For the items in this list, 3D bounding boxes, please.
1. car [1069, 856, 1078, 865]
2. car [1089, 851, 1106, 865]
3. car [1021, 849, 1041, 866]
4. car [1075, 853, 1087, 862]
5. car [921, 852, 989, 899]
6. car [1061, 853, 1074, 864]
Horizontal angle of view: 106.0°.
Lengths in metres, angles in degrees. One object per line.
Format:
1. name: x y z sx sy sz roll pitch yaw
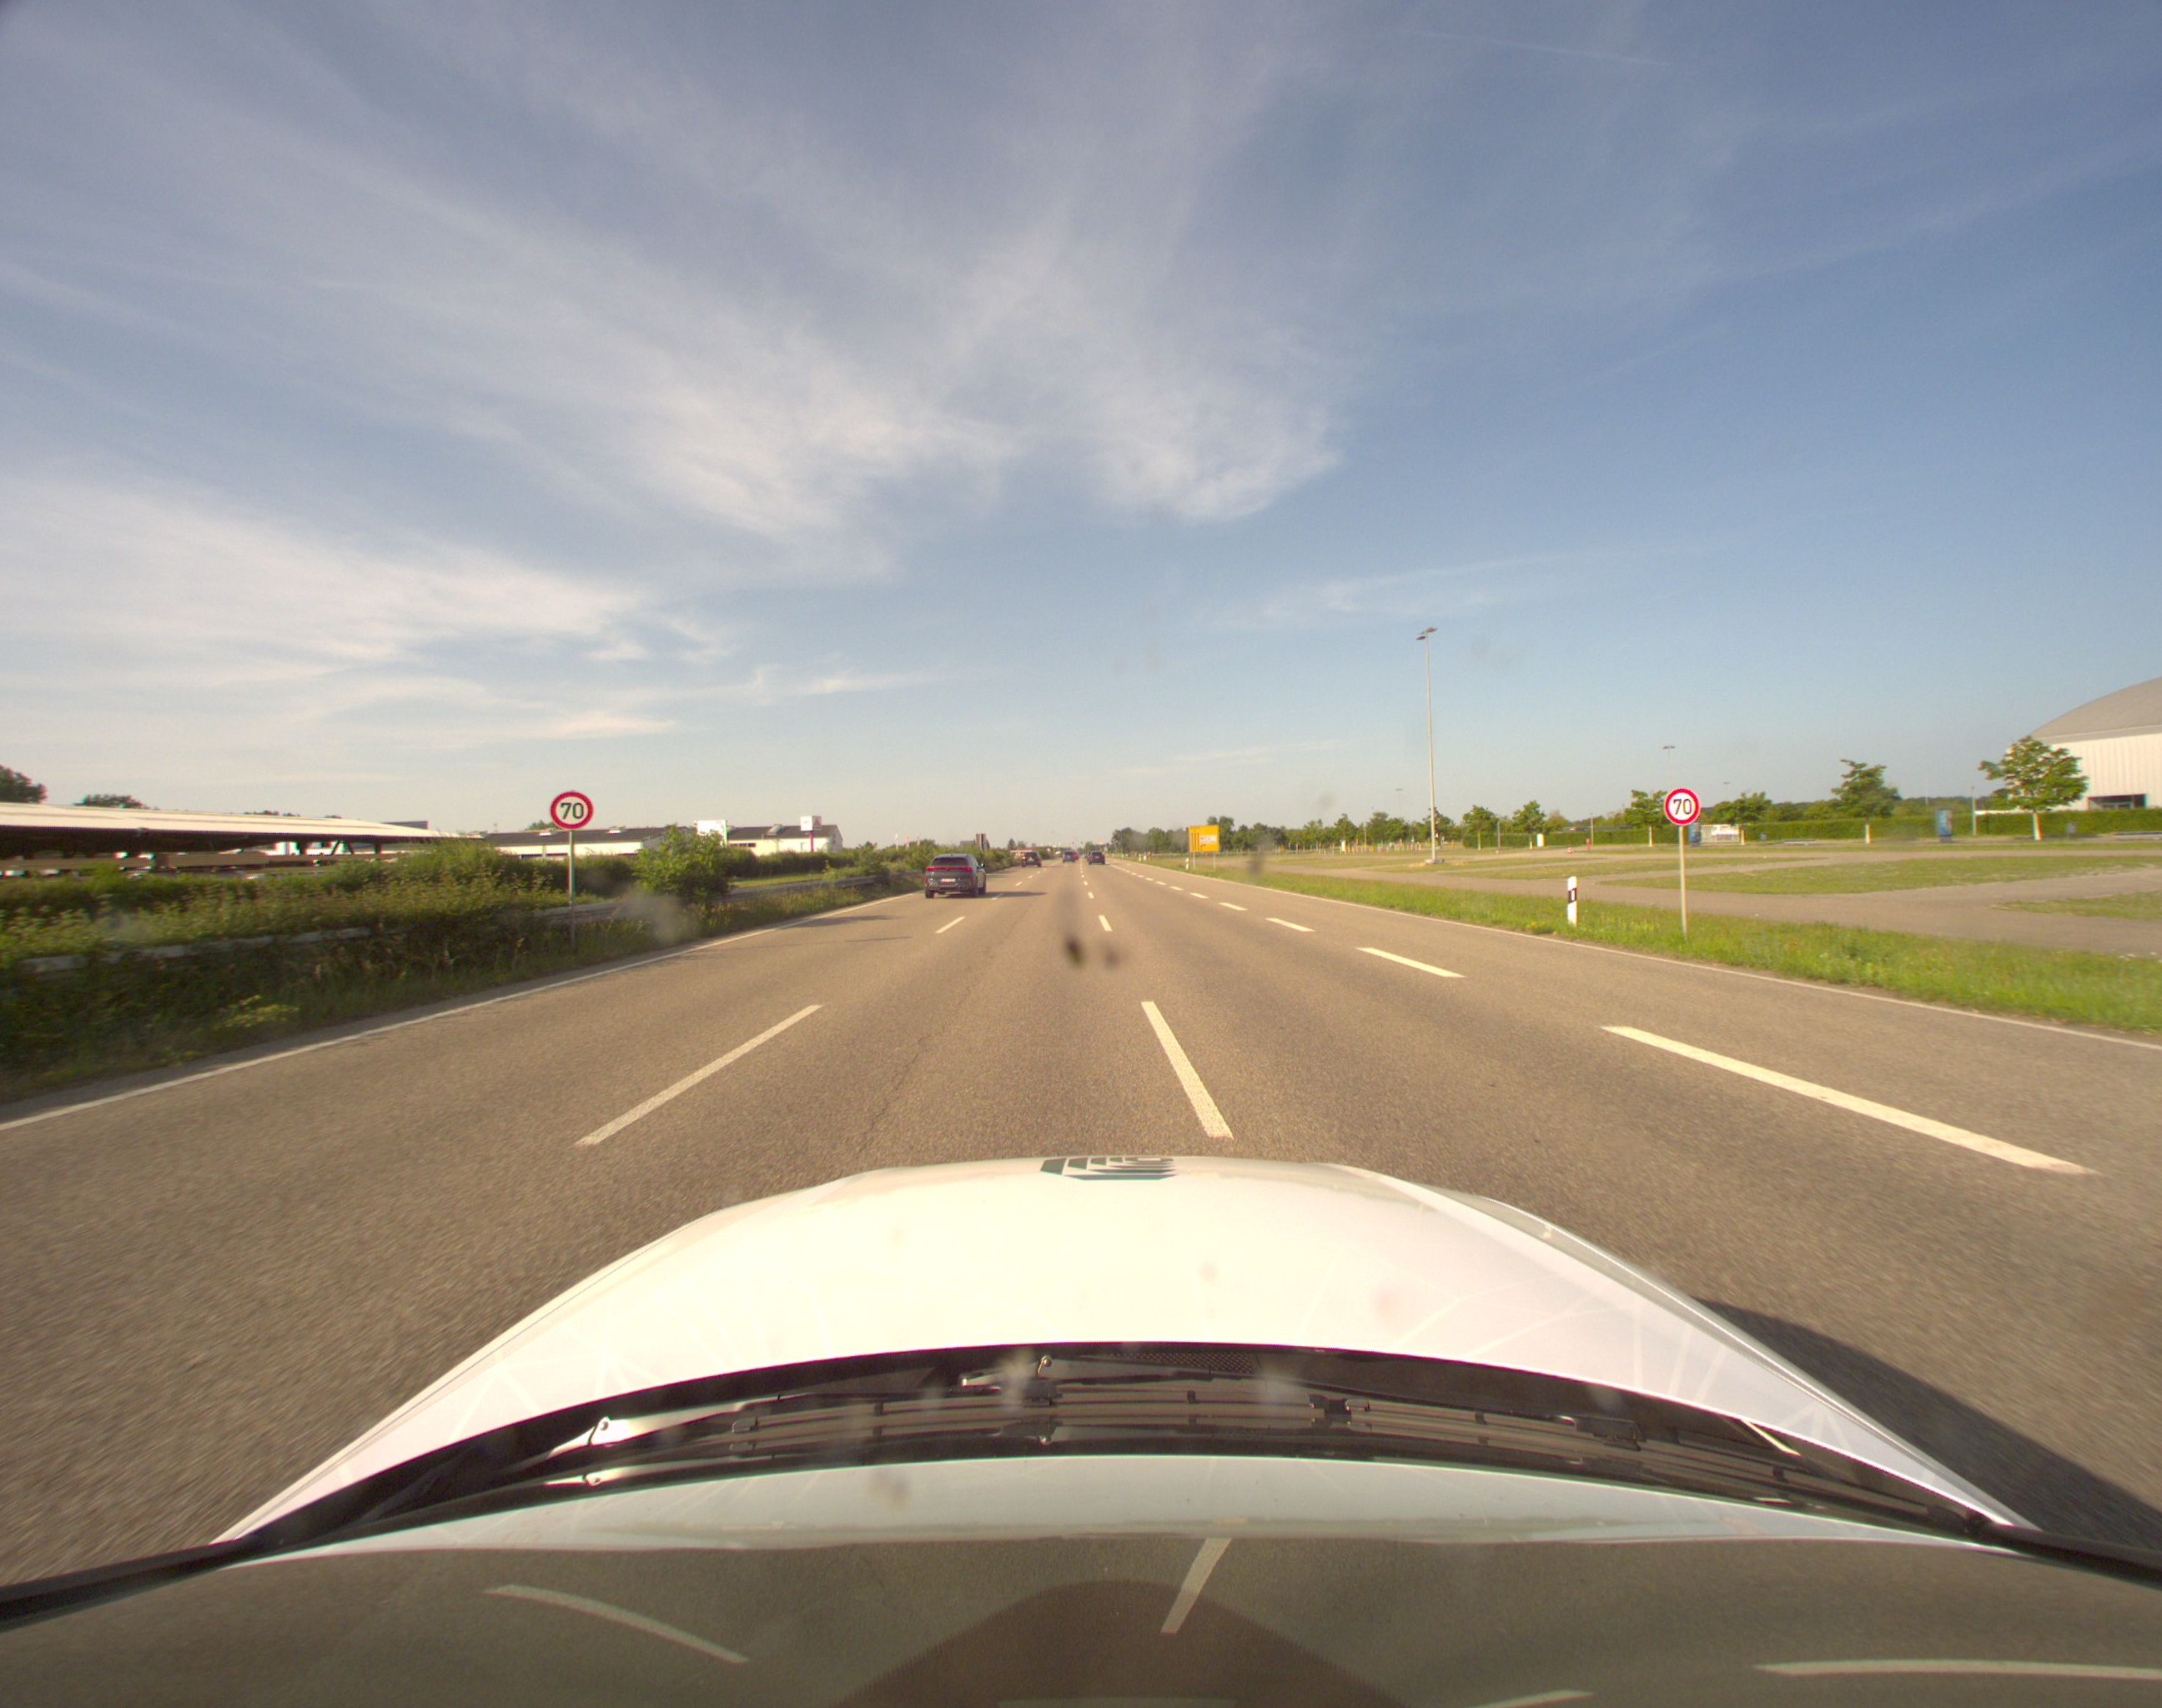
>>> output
1. car: -1.310 1.189 143.895 1.642 1.463 3.980 1 0 0
2. car: 2.022 0.469 99.268 1.926 1.680 4.400 1 0 0
3. car: -5.302 0.353 86.709 1.926 1.680 4.400 1 0 0
4. car: 0.042 0.625 135.035 1.867 1.463 3.980 1 0 0
5. car: -4.593 0.757 30.381 1.840 1.612 4.400 1 0 0
6. car: -1.919 0.635 118.567 1.807 1.463 4.400 1 0 0
